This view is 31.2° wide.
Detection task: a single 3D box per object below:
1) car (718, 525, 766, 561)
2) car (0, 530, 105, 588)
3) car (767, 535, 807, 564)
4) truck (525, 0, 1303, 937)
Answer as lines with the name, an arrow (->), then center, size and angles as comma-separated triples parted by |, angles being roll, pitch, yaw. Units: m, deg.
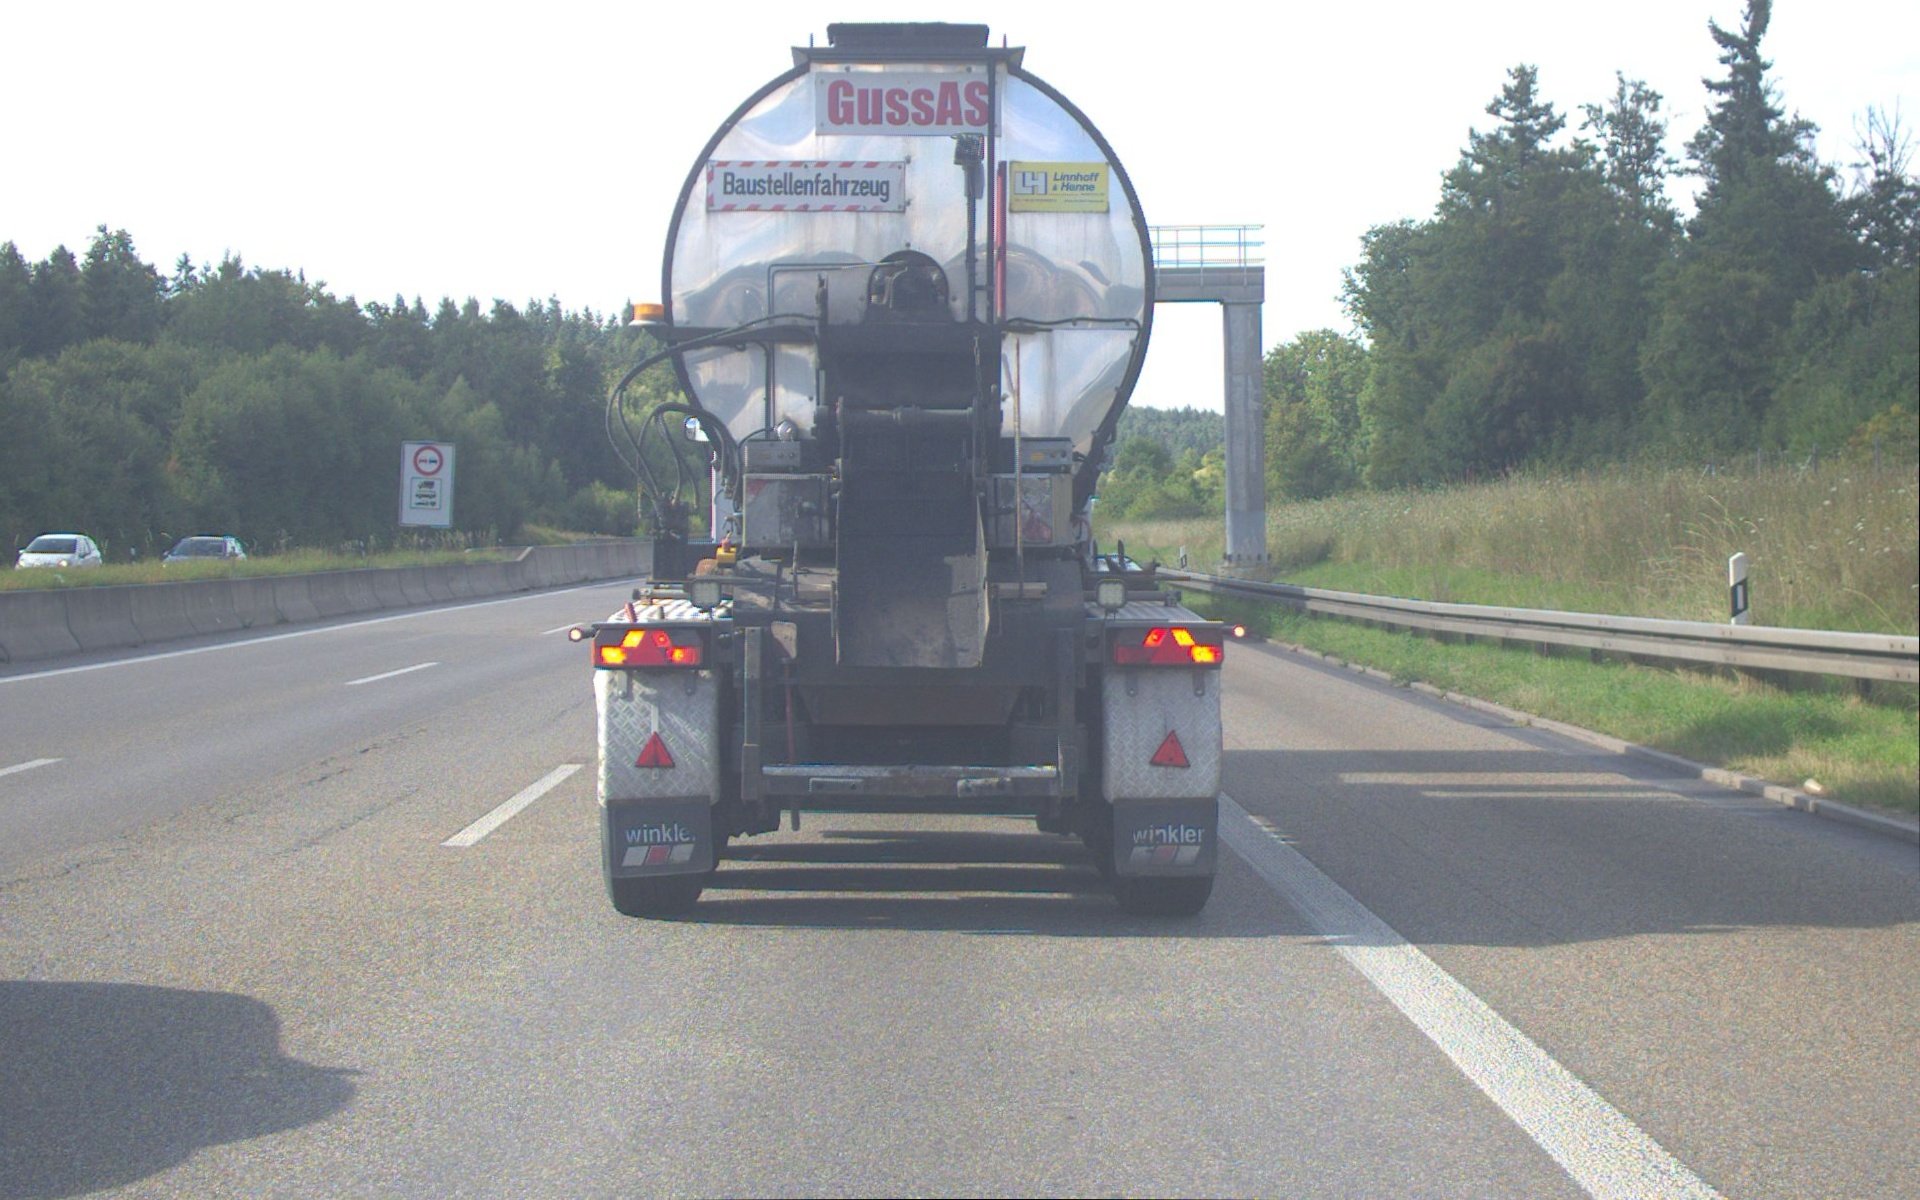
car -> -9.407, -2.484, 148.707 | 1.835, 1.512, 4.333 | 0, 1, -1
car -> -24.817, -1.130, 93.802 | 1.950, 1.534, 4.327 | 0, 1, -1
car -> -8.766, -2.574, 174.387 | 1.856, 1.426, 4.841 | 0, 1, -1
truck -> -0.233, -0.921, 18.570 | 2.912, 4.143, 11.270 | 0, 1, -1
